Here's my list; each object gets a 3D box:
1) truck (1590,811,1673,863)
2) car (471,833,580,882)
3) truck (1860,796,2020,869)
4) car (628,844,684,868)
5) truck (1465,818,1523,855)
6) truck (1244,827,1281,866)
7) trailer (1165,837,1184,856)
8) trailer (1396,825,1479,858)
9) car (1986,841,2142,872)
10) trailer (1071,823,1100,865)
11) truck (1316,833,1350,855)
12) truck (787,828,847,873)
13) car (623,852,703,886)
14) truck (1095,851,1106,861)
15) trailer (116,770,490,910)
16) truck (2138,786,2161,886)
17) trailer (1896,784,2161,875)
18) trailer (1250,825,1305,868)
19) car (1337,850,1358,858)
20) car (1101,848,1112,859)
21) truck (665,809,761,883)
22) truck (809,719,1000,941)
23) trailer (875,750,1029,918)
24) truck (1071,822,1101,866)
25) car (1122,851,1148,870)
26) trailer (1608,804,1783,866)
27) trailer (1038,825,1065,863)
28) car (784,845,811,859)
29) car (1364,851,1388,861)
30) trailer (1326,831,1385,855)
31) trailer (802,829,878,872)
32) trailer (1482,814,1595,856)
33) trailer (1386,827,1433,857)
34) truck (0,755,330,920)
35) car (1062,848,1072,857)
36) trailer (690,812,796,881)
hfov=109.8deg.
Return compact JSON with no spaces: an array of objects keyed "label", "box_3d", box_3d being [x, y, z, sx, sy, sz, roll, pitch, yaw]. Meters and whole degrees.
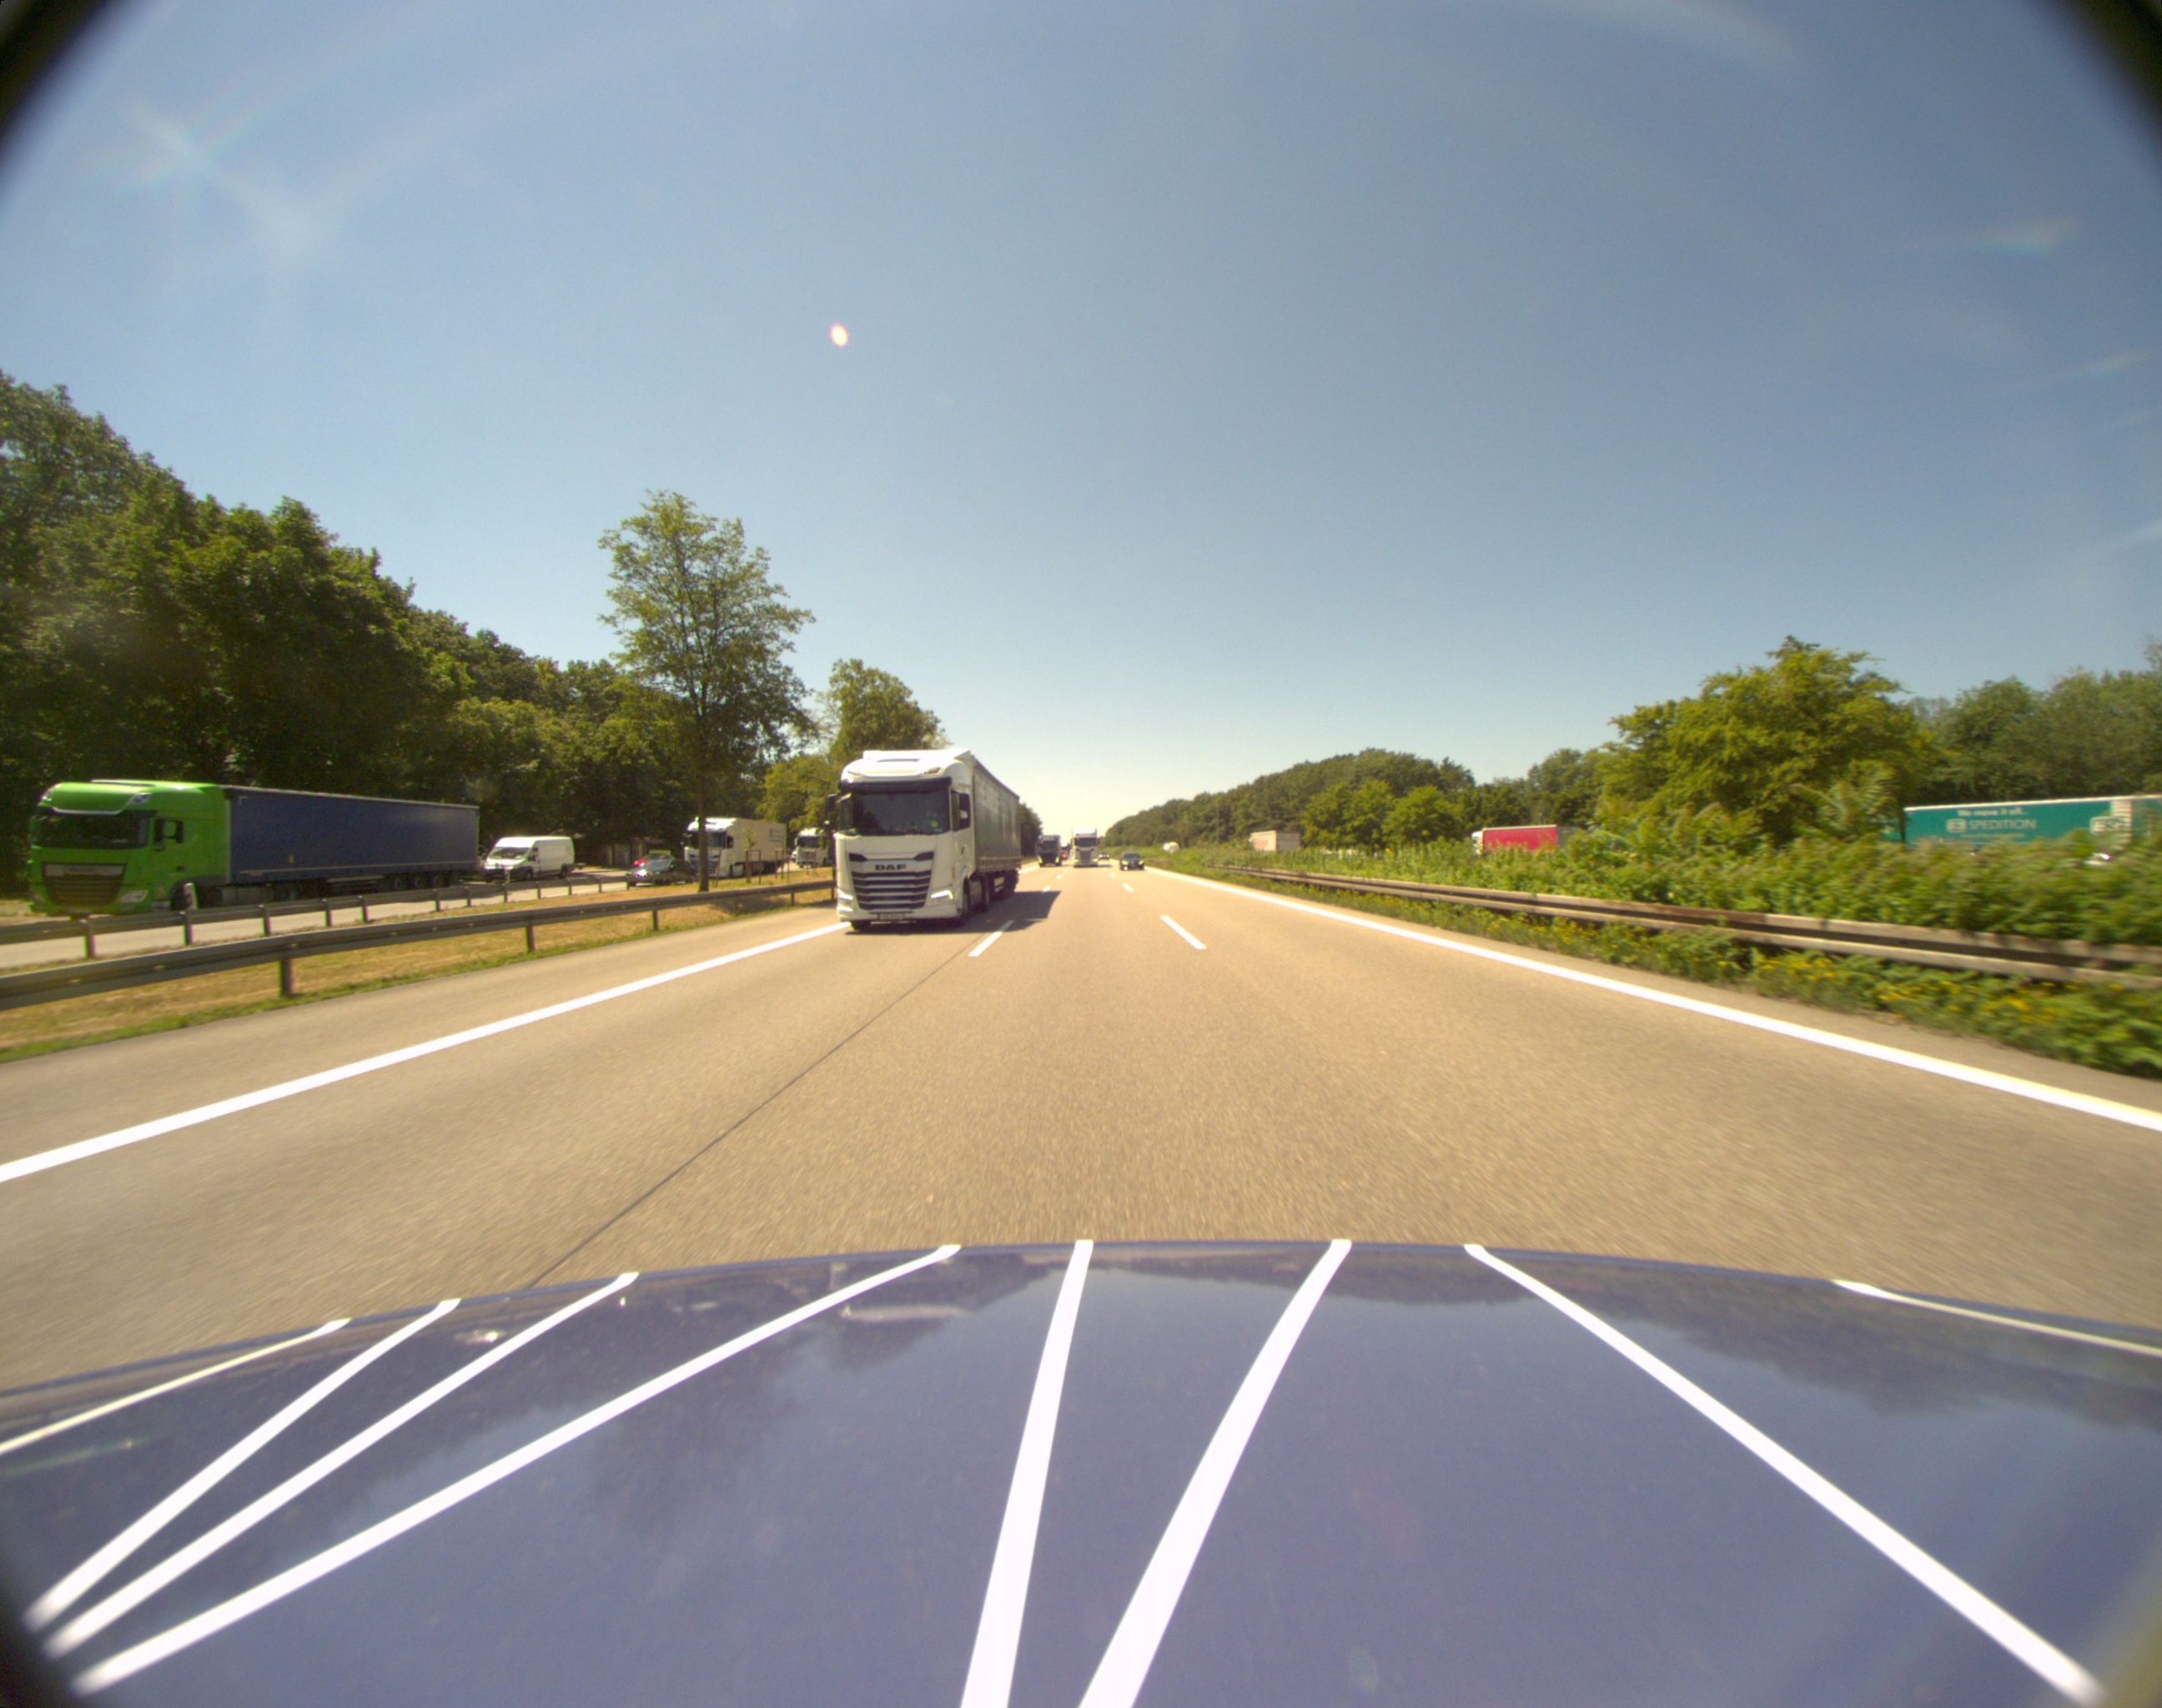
[{"label":"truck","box_3d":[50.619,-1.510,70.083,3.609,4.565,5.758,0,1,2]},{"label":"car","box_3d":[-31.521,0.153,43.440,2.315,2.568,6.642,1,1,-10]},{"label":"truck","box_3d":[57.386,-1.366,51.090,3.608,4.565,6.600,0,1,6]},{"label":"car","box_3d":[-33.421,0.140,59.939,2.147,1.743,4.865,1,1,-7]},{"label":"truck","box_3d":[49.612,-2.040,91.416,3.611,4.239,5.935,0,1,-2]},{"label":"truck","box_3d":[21.284,-0.885,89.453,2.910,4.247,5.491,-2,1,0]},{"label":"trailer","box_3d":[21.194,-1.676,172.514,2.889,4.239,10.838,0,1,0]},{"label":"trailer","box_3d":[48.627,-1.669,104.466,3.612,4.239,14.014,0,1,-6]},{"label":"car","box_3d":[48.260,0.093,37.475,1.805,1.457,4.453,0,1,-3]},{"label":"trailer","box_3d":[0.558,-1.103,85.441,2.863,4.247,11.470,-2,1,0]},{"label":"truck","box_3d":[49.317,-1.995,148.745,3.613,4.239,6.262,-1,1,-11]},{"label":"truck","box_3d":[-27.184,-0.378,78.590,3.392,4.437,8.231,-1,1,-1]},{"label":"car","box_3d":[-22.947,0.792,41.959,1.999,1.700,4.677,1,1,-3]},{"label":"truck","box_3d":[4.721,0.486,187.460,2.576,2.461,5.614,-2,1,1]},{"label":"trailer","box_3d":[-28.793,-0.495,29.759,3.395,4.233,13.129,-1,1,-12]},{"label":"truck","box_3d":[45.563,-0.762,28.037,3.222,4.112,7.394,-2,1,6]},{"label":"trailer","box_3d":[56.692,-1.315,44.666,3.608,4.565,14.028,0,1,6]},{"label":"trailer","box_3d":[21.313,-0.817,83.173,2.910,4.247,11.487,-2,1,0]},{"label":"car","box_3d":[45.283,-0.063,129.163,1.740,1.281,3.996,-1,1,-11]},{"label":"car","box_3d":[4.580,-0.106,135.458,1.806,1.774,3.999,-1,1,1]},{"label":"truck","box_3d":[-24.042,-0.517,50.161,3.394,4.437,7.383,-2,1,-8]},{"label":"truck","box_3d":[-3.812,-0.499,18.337,2.863,4.247,6.862,-2,1,0]},{"label":"trailer","box_3d":[-3.844,-0.595,27.159,2.863,4.247,14.978,-2,1,0]},{"label":"truck","box_3d":[0.508,-1.029,78.896,2.863,4.247,5.410,-2,1,0]},{"label":"car","box_3d":[4.368,0.489,62.073,1.811,1.399,3.999,-2,1,0]},{"label":"trailer","box_3d":[50.401,-1.441,63.337,3.609,4.565,14.023,0,1,2]},{"label":"trailer","box_3d":[-3.460,-1.164,92.212,2.863,4.247,11.470,-1,0,0]},{"label":"car","box_3d":[-36.368,-0.255,97.664,2.147,1.686,4.865,1,1,-7]},{"label":"car","box_3d":[46.298,0.304,119.368,1.740,1.447,3.996,-1,1,-11]},{"label":"trailer","box_3d":[50.797,-1.948,141.307,3.613,4.239,14.007,-1,1,-11]},{"label":"trailer","box_3d":[-27.414,-0.457,87.980,3.392,4.437,18.122,-1,1,-1]},{"label":"trailer","box_3d":[49.893,-1.965,83.701,3.611,4.239,14.019,0,0,-2]},{"label":"trailer","box_3d":[47.953,-1.716,111.212,3.612,4.239,6.590,0,1,-6]},{"label":"truck","box_3d":[-27.354,-0.461,23.026,3.395,4.233,6.609,-1,1,-12]},{"label":"car","box_3d":[-2.712,-0.341,143.908,1.811,1.612,4.000,0,1,0]},{"label":"trailer","box_3d":[-25.118,-0.555,57.581,3.394,4.437,14.348,-2,1,-8]}]
